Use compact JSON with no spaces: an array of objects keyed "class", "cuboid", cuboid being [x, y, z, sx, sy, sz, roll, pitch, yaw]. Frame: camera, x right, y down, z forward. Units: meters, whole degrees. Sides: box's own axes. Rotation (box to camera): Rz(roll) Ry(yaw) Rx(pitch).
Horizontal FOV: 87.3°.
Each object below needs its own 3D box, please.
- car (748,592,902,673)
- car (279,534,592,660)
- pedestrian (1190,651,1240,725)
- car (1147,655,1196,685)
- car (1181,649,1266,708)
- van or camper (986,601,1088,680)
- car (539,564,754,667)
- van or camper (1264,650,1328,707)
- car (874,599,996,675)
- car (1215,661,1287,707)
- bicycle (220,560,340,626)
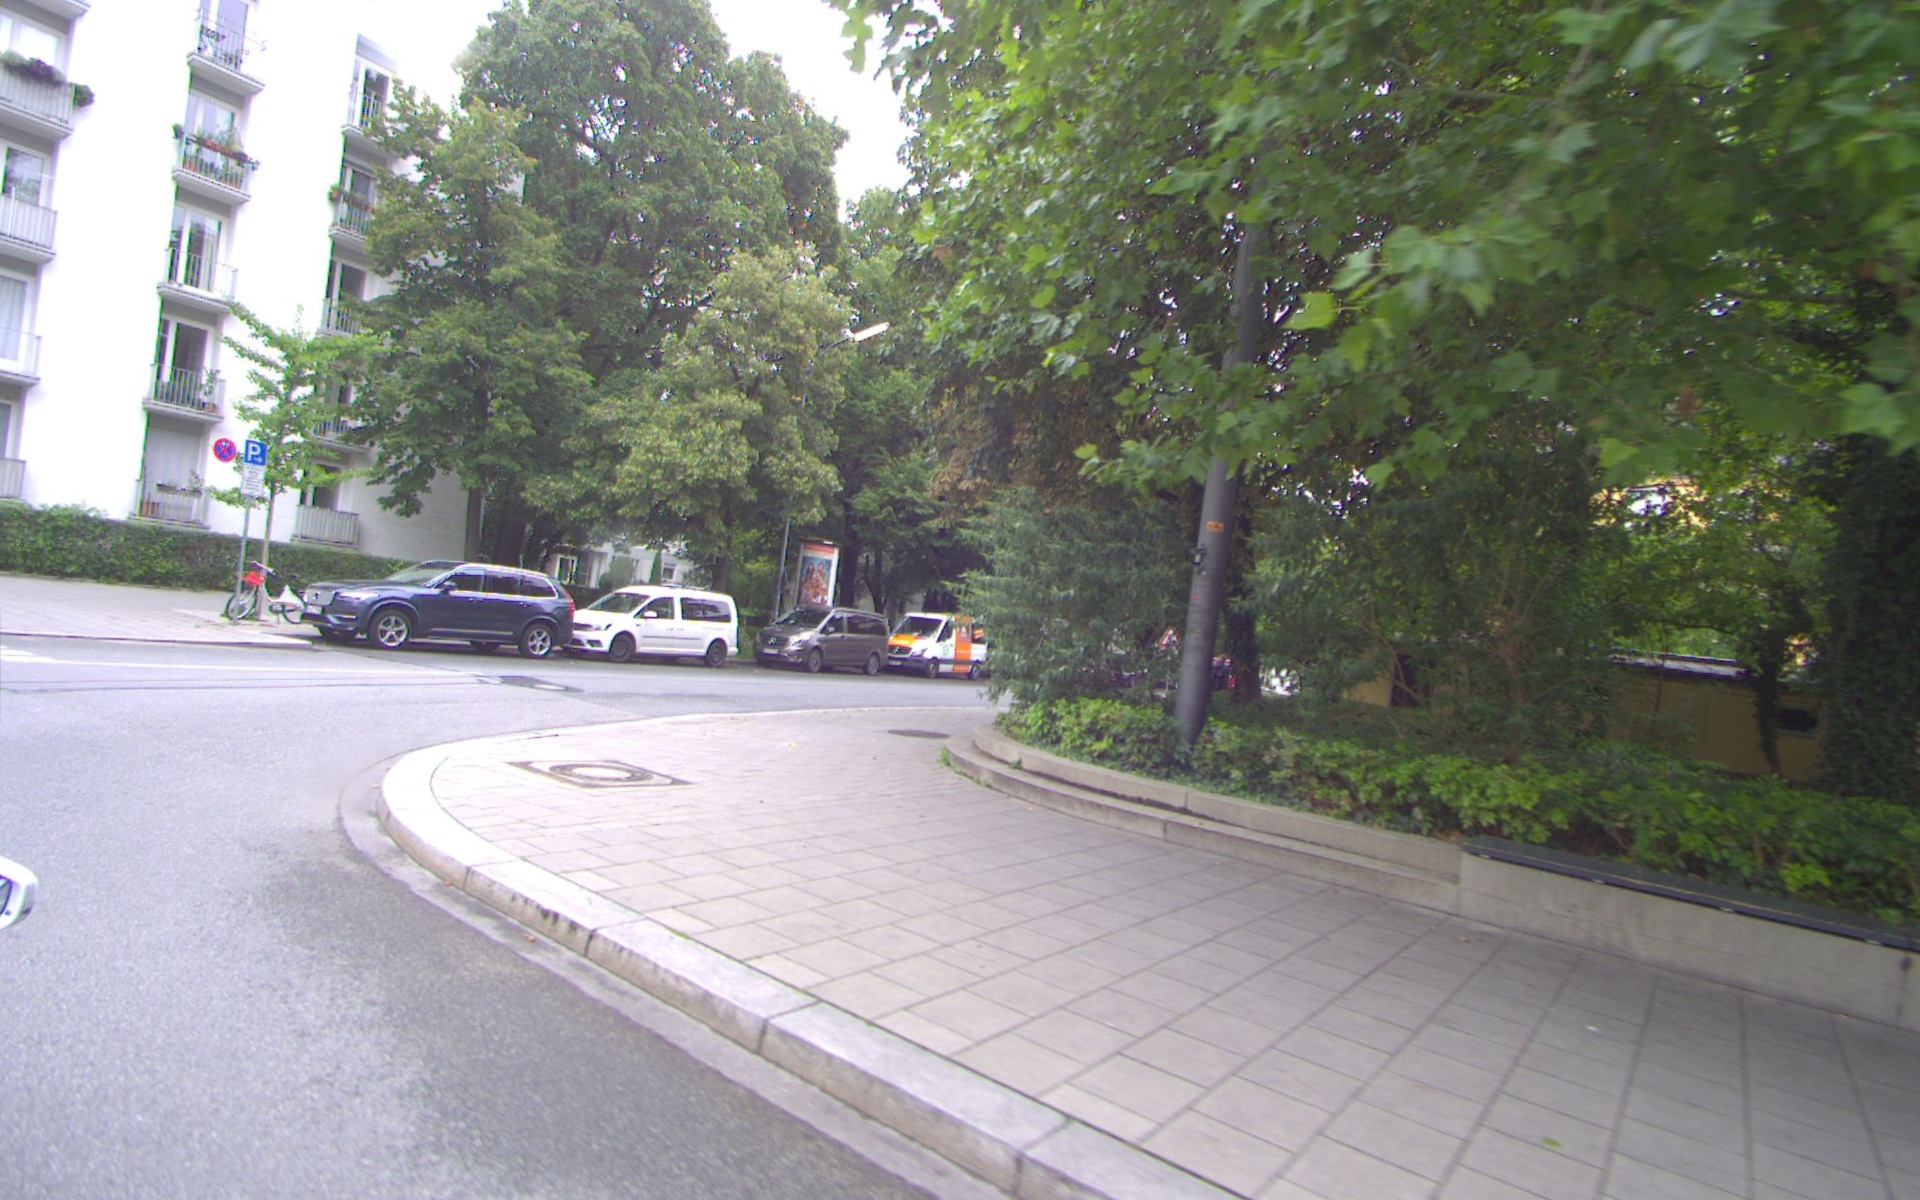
[{"class":"car","cuboid":[-3.883,1.057,30.017,1.860,1.956,5.206,6,-2,26]},{"class":"car","cuboid":[-9.805,0.040,19.278,1.966,1.812,4.907,6,-2,30]},{"class":"pedestrian","cuboid":[6.849,2.365,27.020,0.861,1.853,1.050,7,0,29]},{"class":"car","cuboid":[13.015,4.303,61.740,1.826,1.491,3.998,7,-2,27]},{"class":"car","cuboid":[9.918,2.947,37.553,1.963,1.860,4.711,6,-2,27]},{"class":"van or camper","cuboid":[3.474,1.844,44.114,1.973,2.979,6.006,6,-2,28]},{"class":"car","cuboid":[-7.278,0.464,23.938,1.804,1.940,4.844,6,-2,29]},{"class":"van or camper","cuboid":[17.197,4.031,51.344,2.102,2.575,5.239,6,-2,28]},{"class":"car","cuboid":[-0.788,1.410,36.268,1.919,2.299,5.239,6,-2,28]},{"class":"car","cuboid":[12.267,3.542,42.228,1.963,1.627,4.320,6,-2,27]},{"class":"bicycle","cuboid":[-12.852,-0.110,19.079,0.483,1.061,1.830,7,-1,24]}]
